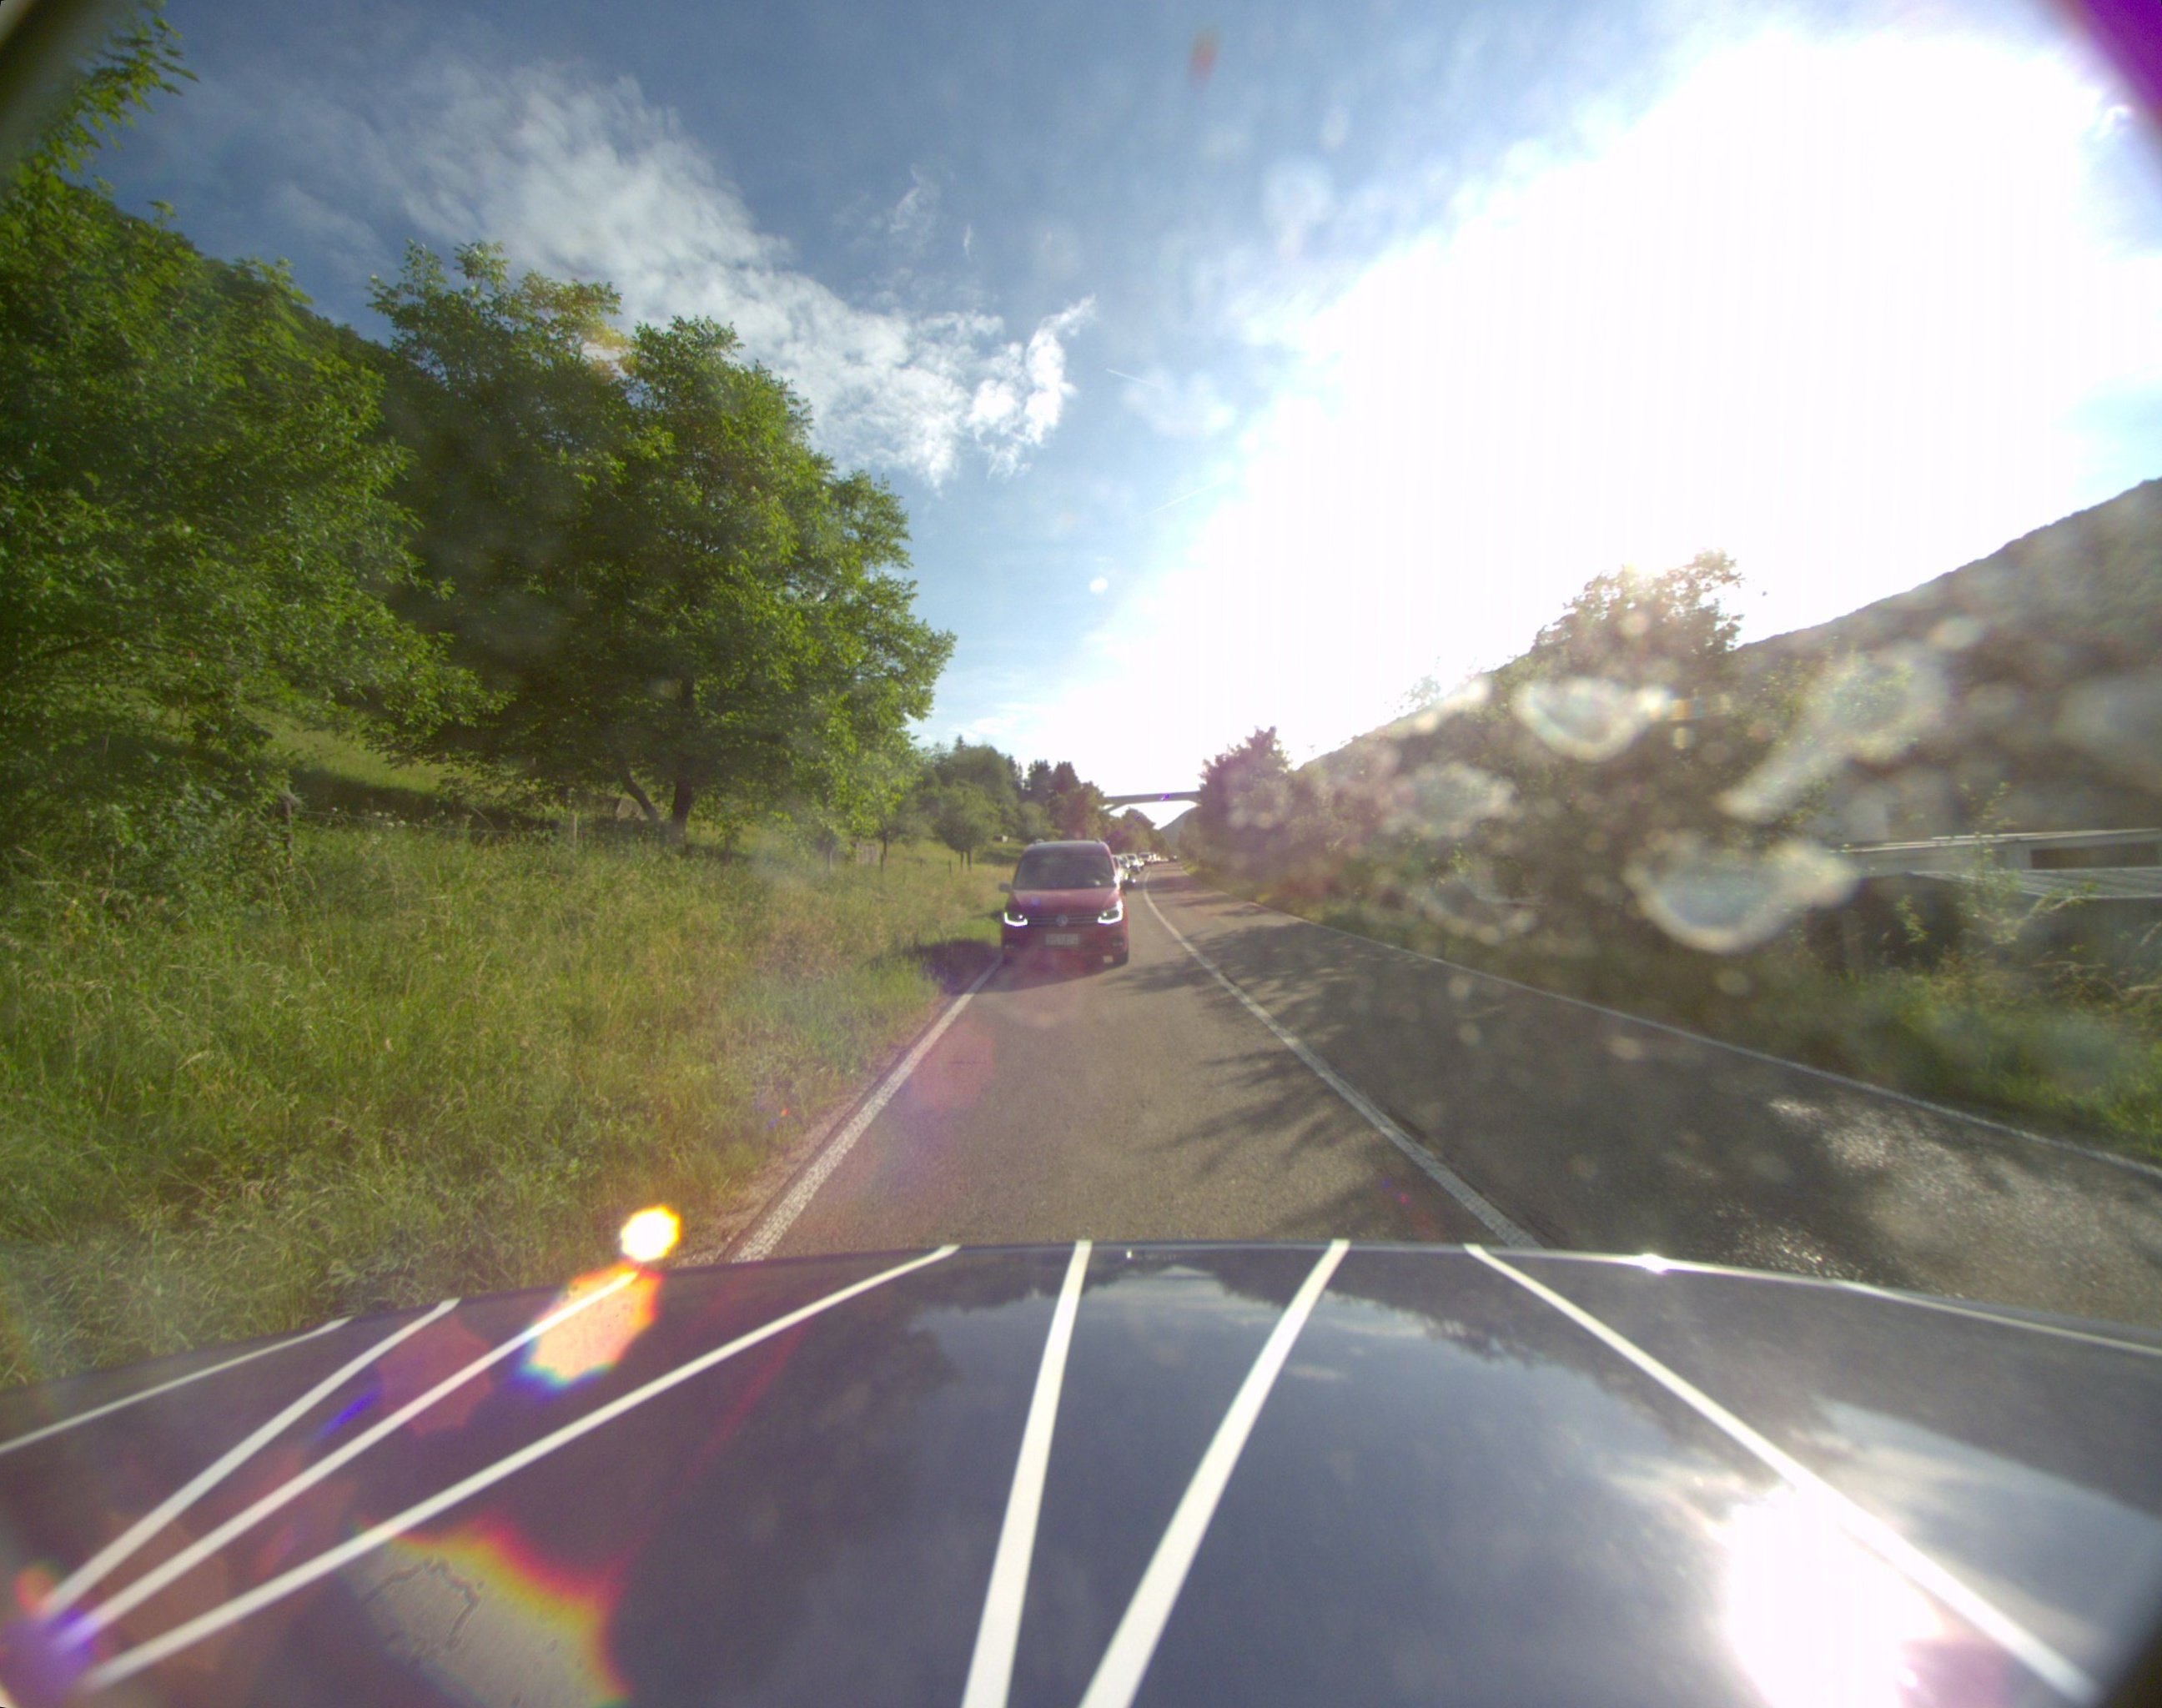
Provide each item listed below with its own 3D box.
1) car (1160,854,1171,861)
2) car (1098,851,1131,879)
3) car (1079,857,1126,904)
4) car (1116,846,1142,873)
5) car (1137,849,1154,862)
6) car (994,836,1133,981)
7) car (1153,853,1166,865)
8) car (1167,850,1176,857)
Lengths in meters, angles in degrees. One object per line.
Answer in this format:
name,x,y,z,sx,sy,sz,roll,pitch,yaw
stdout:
car,17.644,0.736,158.192,1.840,1.543,4.181,-1,0,11
car,1.938,0.616,44.565,1.841,1.543,4.178,-1,0,2
car,0.821,0.909,27.582,1.571,1.575,3.527,-1,0,3
car,3.858,0.420,60.647,1.914,2.002,4.001,-1,0,5
car,8.365,0.186,98.474,1.817,1.608,4.003,-1,0,9
car,-0.224,0.715,11.975,1.772,1.855,3.875,-2,0,0
car,11.706,0.733,112.528,1.817,1.608,4.002,-1,0,7
car,20.184,-0.117,169.061,1.818,1.608,3.807,-1,0,5
